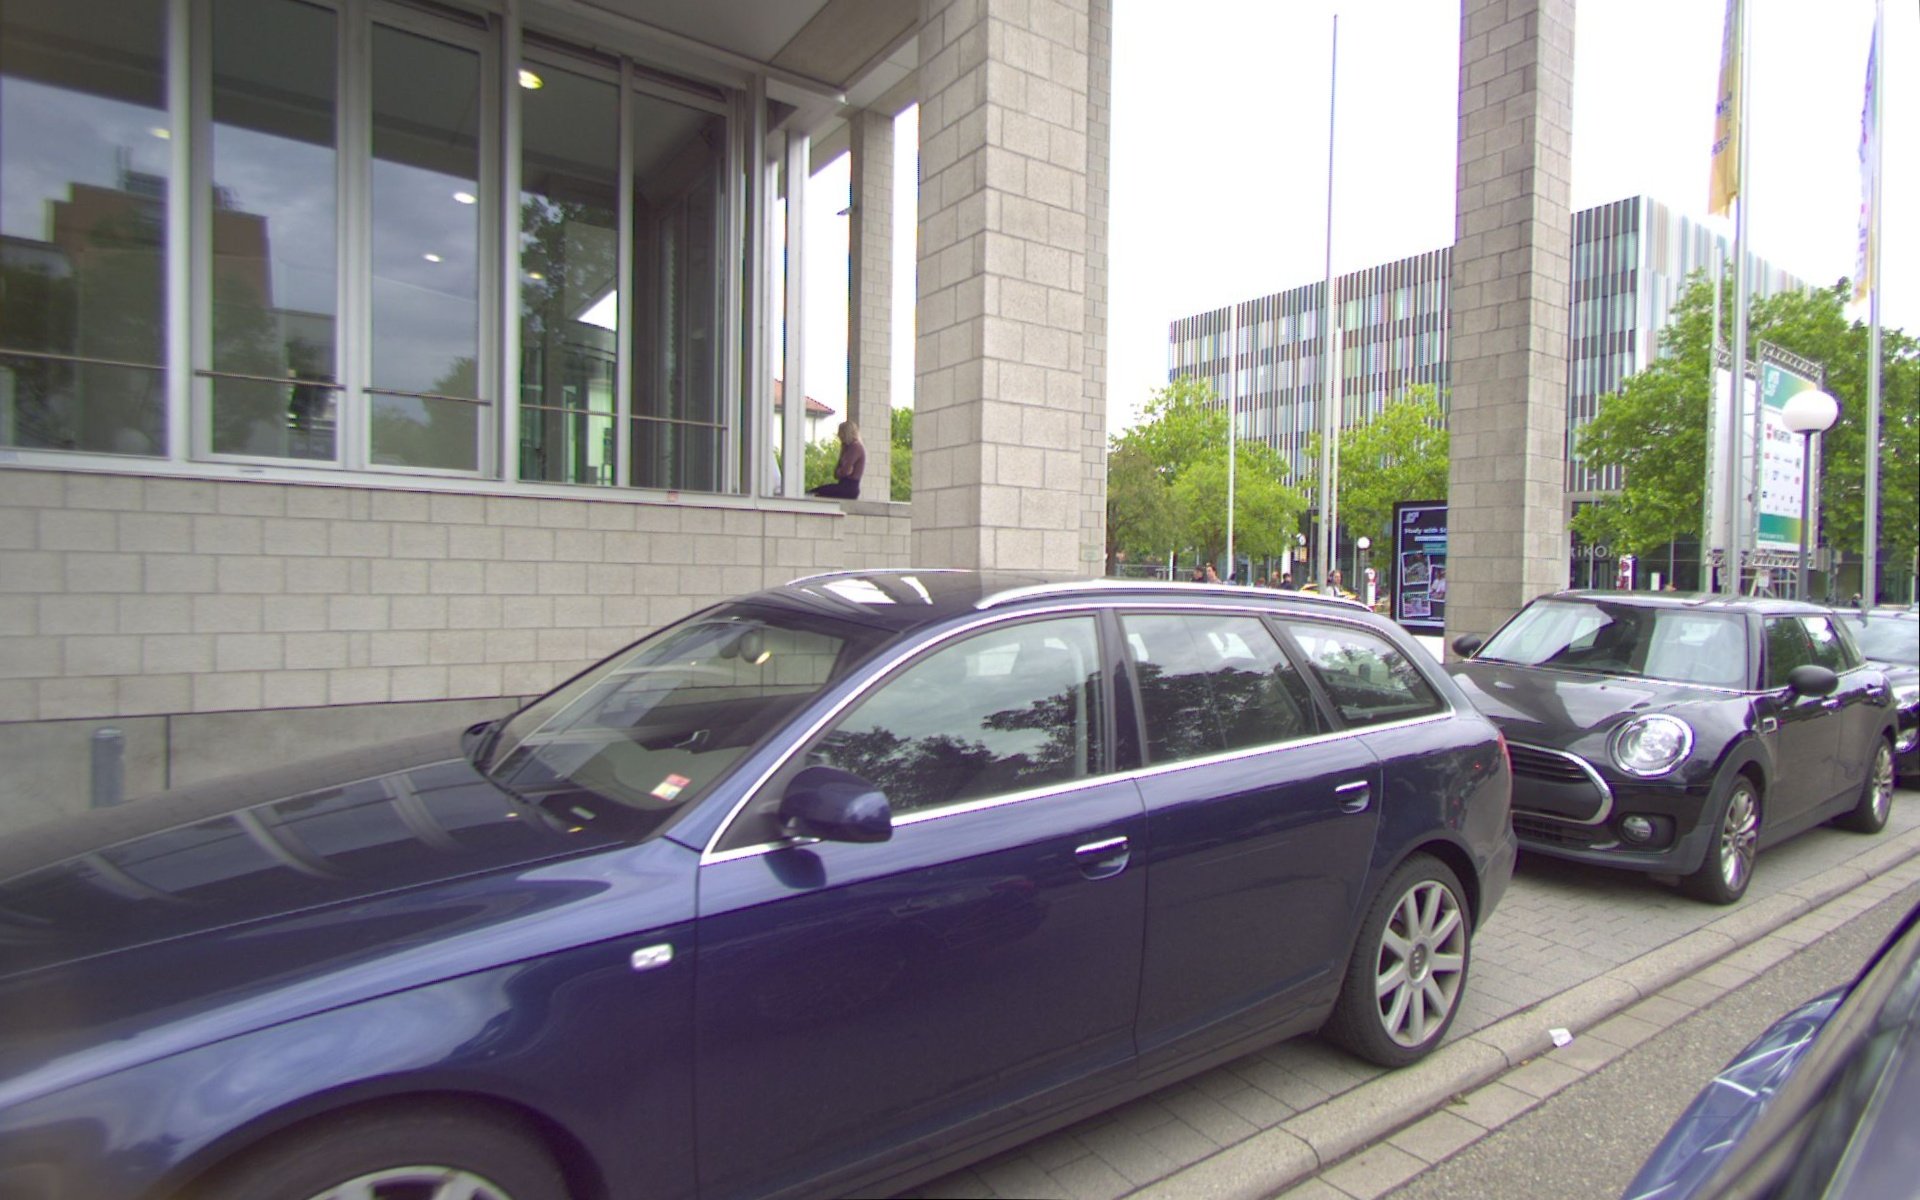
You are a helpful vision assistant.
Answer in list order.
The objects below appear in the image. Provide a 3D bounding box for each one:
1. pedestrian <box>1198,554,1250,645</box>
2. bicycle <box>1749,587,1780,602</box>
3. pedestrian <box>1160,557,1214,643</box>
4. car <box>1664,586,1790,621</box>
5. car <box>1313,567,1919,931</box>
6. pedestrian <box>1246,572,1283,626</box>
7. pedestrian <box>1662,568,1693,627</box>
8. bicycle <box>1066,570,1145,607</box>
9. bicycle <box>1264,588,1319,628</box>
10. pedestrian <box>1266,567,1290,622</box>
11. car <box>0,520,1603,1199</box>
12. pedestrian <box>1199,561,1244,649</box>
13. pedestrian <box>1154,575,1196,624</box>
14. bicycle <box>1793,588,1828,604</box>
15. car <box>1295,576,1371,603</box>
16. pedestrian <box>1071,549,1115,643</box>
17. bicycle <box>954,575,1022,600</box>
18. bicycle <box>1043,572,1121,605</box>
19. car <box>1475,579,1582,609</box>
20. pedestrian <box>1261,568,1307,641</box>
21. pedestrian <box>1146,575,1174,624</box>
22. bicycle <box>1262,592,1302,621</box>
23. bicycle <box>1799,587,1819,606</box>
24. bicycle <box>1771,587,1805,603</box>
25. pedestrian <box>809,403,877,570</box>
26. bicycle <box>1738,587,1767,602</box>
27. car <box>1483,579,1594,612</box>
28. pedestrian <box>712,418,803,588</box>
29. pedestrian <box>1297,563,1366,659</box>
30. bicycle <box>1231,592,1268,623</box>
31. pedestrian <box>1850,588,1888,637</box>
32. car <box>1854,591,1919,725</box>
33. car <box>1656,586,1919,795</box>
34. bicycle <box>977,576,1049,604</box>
[{"bbox_3d":[5.377,-0.031,20.622,0.761,1.807,0.726,2,1,42],"label":"pedestrian"},{"bbox_3d":[53.667,-0.365,67.516,0.539,0.947,2.008,0,2,5],"label":"bicycle"},{"bbox_3d":[4.784,-0.015,21.412,0.680,1.733,0.911,4,2,-10],"label":"pedestrian"},{"bbox_3d":[35.746,0.123,47.251,1.962,1.508,4.293,-1,2,-35],"label":"car"},{"bbox_3d":[4.333,0.596,6.253,4.435,1.461,1.824,0,3,-36],"label":"car"},{"bbox_3d":[10.017,-0.056,33.287,0.847,1.725,0.957,3,2,35],"label":"pedestrian"},{"bbox_3d":[21.726,-0.088,30.663,0.668,1.737,0.671,2,1,30],"label":"pedestrian"},{"bbox_3d":[5.228,-0.389,36.172,3.047,1.185,0.748,3,-1,-33],"label":"bicycle"},{"bbox_3d":[10.649,0.272,32.422,2.370,1.185,0.457,3,-1,-40],"label":"bicycle"},{"bbox_3d":[10.817,-0.199,34.448,0.661,1.856,0.511,1,1,5],"label":"pedestrian"},{"bbox_3d":[-0.334,0.596,2.936,4.829,1.470,2.001,0,2,-35],"label":"car"},{"bbox_3d":[5.315,0.084,20.576,0.636,1.733,0.782,3,2,2],"label":"pedestrian"},{"bbox_3d":[6.525,-0.034,30.748,0.850,1.438,0.953,2,2,44],"label":"pedestrian"},{"bbox_3d":[55.952,-0.281,66.584,0.474,0.947,2.012,0,2,-3],"label":"bicycle"},{"bbox_3d":[23.976,-0.714,65.196,1.964,1.638,4.191,0,2,-38],"label":"car"},{"bbox_3d":[2.669,-0.089,20.320,0.608,1.863,0.593,0,1,-34],"label":"pedestrian"},{"bbox_3d":[1.386,-0.624,50.462,3.326,1.184,1.057,-1,2,-29],"label":"bicycle"},{"bbox_3d":[4.486,-0.418,37.074,3.047,1.184,0.748,0,1,-33],"label":"bicycle"},{"bbox_3d":[34.746,-0.369,61.995,2.009,1.719,5.373,3,-1,-36],"label":"car"},{"bbox_3d":[7.747,0.102,24.211,0.691,1.690,0.758,1,0,-33],"label":"pedestrian"},{"bbox_3d":[5.914,-0.030,29.943,0.666,1.430,0.763,1,1,24],"label":"pedestrian"},{"bbox_3d":[12.121,0.246,38.058,1.901,1.062,0.457,0,2,-40],"label":"bicycle"},{"bbox_3d":[50.809,-0.217,60.562,0.479,1.058,1.768,1,2,26],"label":"bicycle"},{"bbox_3d":[54.649,-0.328,66.825,0.474,0.947,2.012,0,2,-3],"label":"bicycle"},{"bbox_3d":[-1.280,-1.196,10.949,0.618,1.680,0.808,2,-1,-10],"label":"pedestrian"},{"bbox_3d":[52.951,-0.391,67.653,0.475,0.947,2.008,0,2,5],"label":"bicycle"},{"bbox_3d":[31.151,-0.283,54.643,1.963,1.683,4.839,0,1,-36],"label":"car"},{"bbox_3d":[-2.128,-0.982,10.597,0.790,1.680,0.632,2,-1,-18],"label":"pedestrian"},{"bbox_3d":[6.637,0.207,18.077,0.914,1.662,0.737,3,-2,-37],"label":"pedestrian"},{"bbox_3d":[10.197,0.247,35.552,0.455,1.062,1.906,3,2,41],"label":"bicycle"},{"bbox_3d":[32.907,0.452,36.631,0.778,1.645,0.759,-5,6,-30],"label":"pedestrian"},{"bbox_3d":[12.315,0.640,12.081,4.297,1.429,1.700,-1,3,-38],"label":"car"},{"bbox_3d":[8.240,0.695,9.036,4.333,1.460,1.855,2,0,-34],"label":"car"},{"bbox_3d":[2.550,-0.456,48.376,3.325,1.185,1.057,3,-1,-29],"label":"bicycle"}]
